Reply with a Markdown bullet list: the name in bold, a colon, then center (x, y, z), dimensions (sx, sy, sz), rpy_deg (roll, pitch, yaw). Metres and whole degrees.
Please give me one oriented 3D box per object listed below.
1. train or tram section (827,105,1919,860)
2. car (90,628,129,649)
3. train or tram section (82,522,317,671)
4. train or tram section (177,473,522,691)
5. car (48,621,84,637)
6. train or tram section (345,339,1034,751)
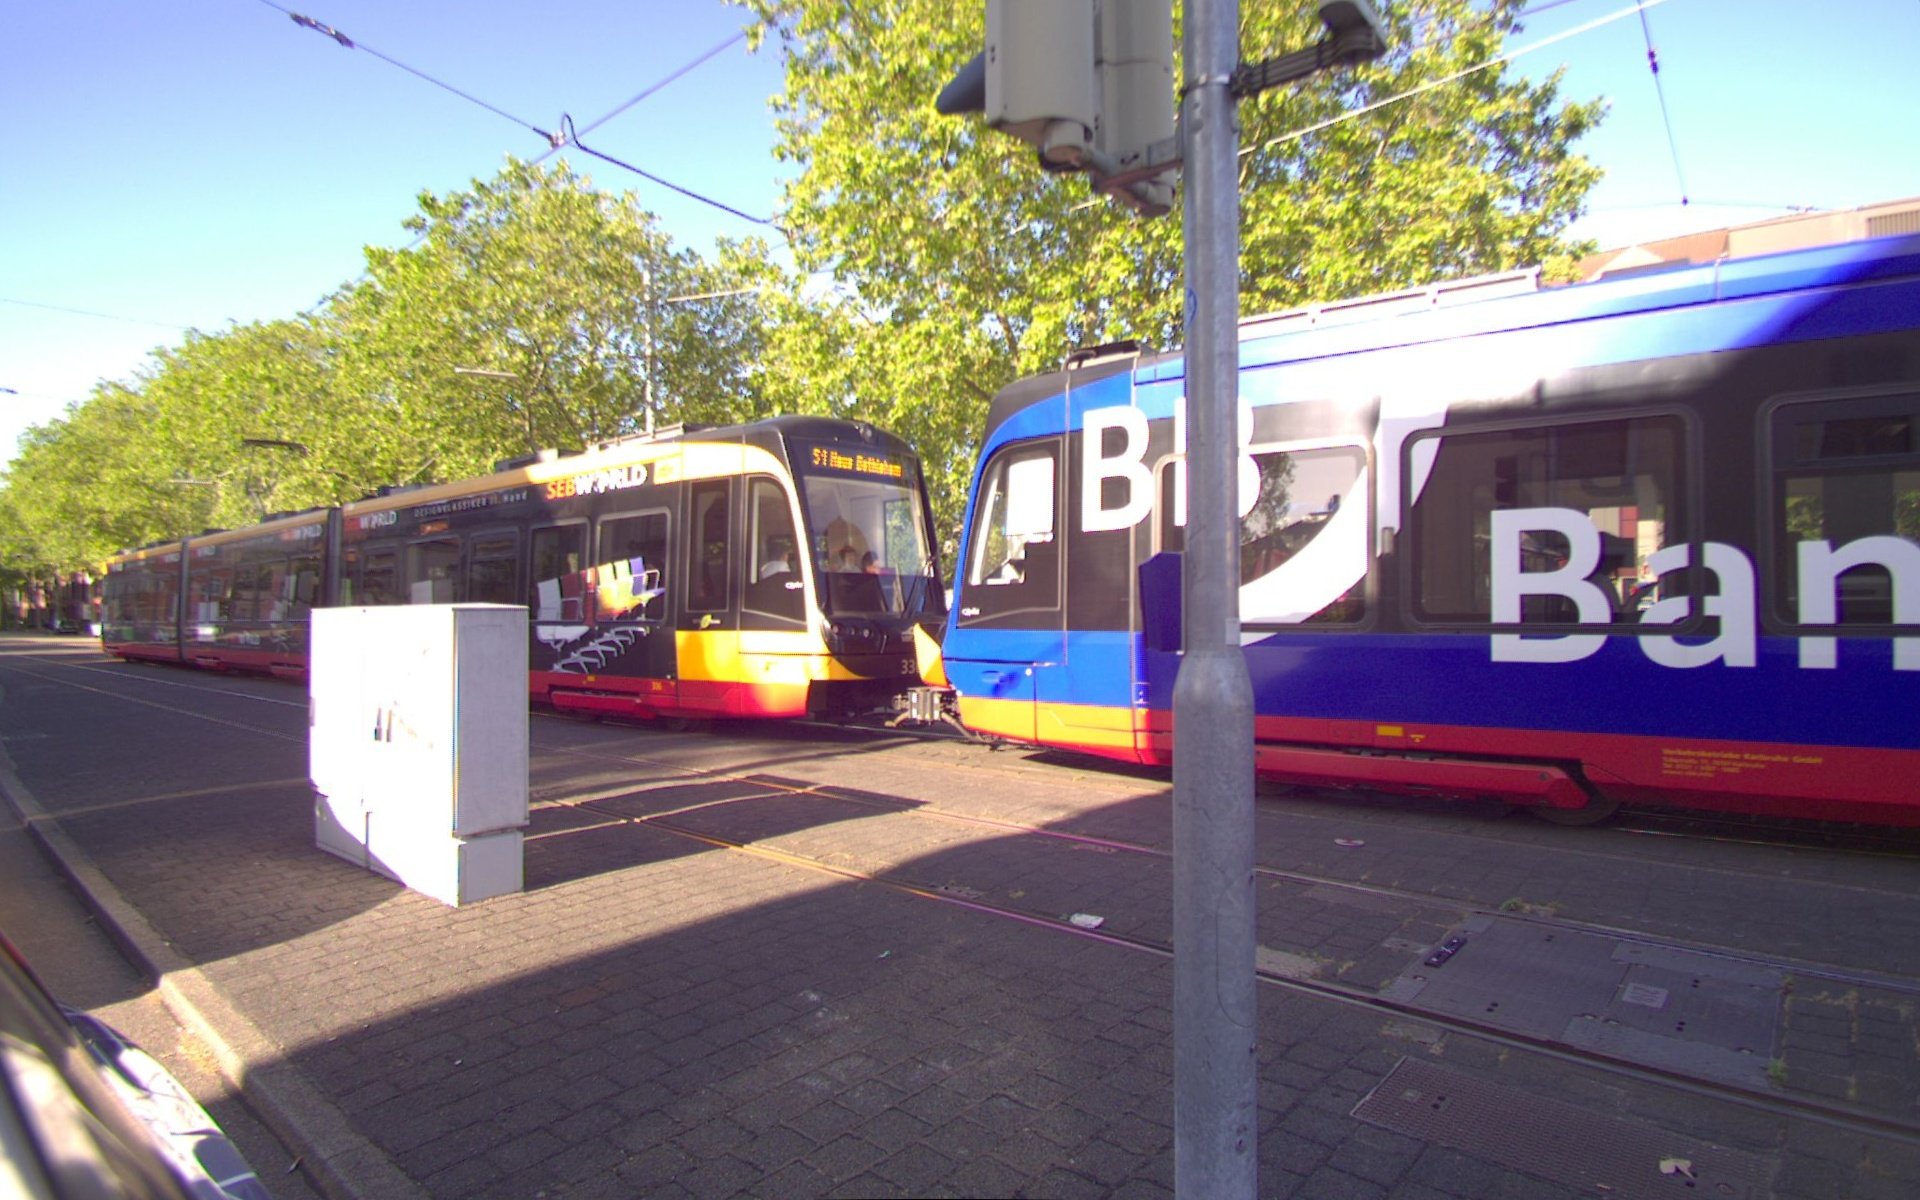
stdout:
- **train or tram section**: center (4.646, -0.542, 6.700), dimensions (12.084, 3.640, 3.029), rpy_deg (-1, -1, 35)
- **car**: center (-66.896, 3.002, 79.555), dimensions (4.000, 1.563, 1.857), rpy_deg (-1, -2, 43)
- **train or tram section**: center (-23.071, 0.029, 30.219), dimensions (12.883, 3.640, 3.023), rpy_deg (-1, -2, 41)
- **train or tram section**: center (-13.760, -0.184, 22.020), dimensions (11.945, 3.640, 3.023), rpy_deg (-1, -2, 42)
- **car**: center (-85.158, 2.749, 96.389), dimensions (3.995, 1.563, 1.859), rpy_deg (-1, -1, 38)
- **train or tram section**: center (-4.726, -0.377, 14.072), dimensions (12.108, 3.640, 3.023), rpy_deg (-1, -2, 41)
